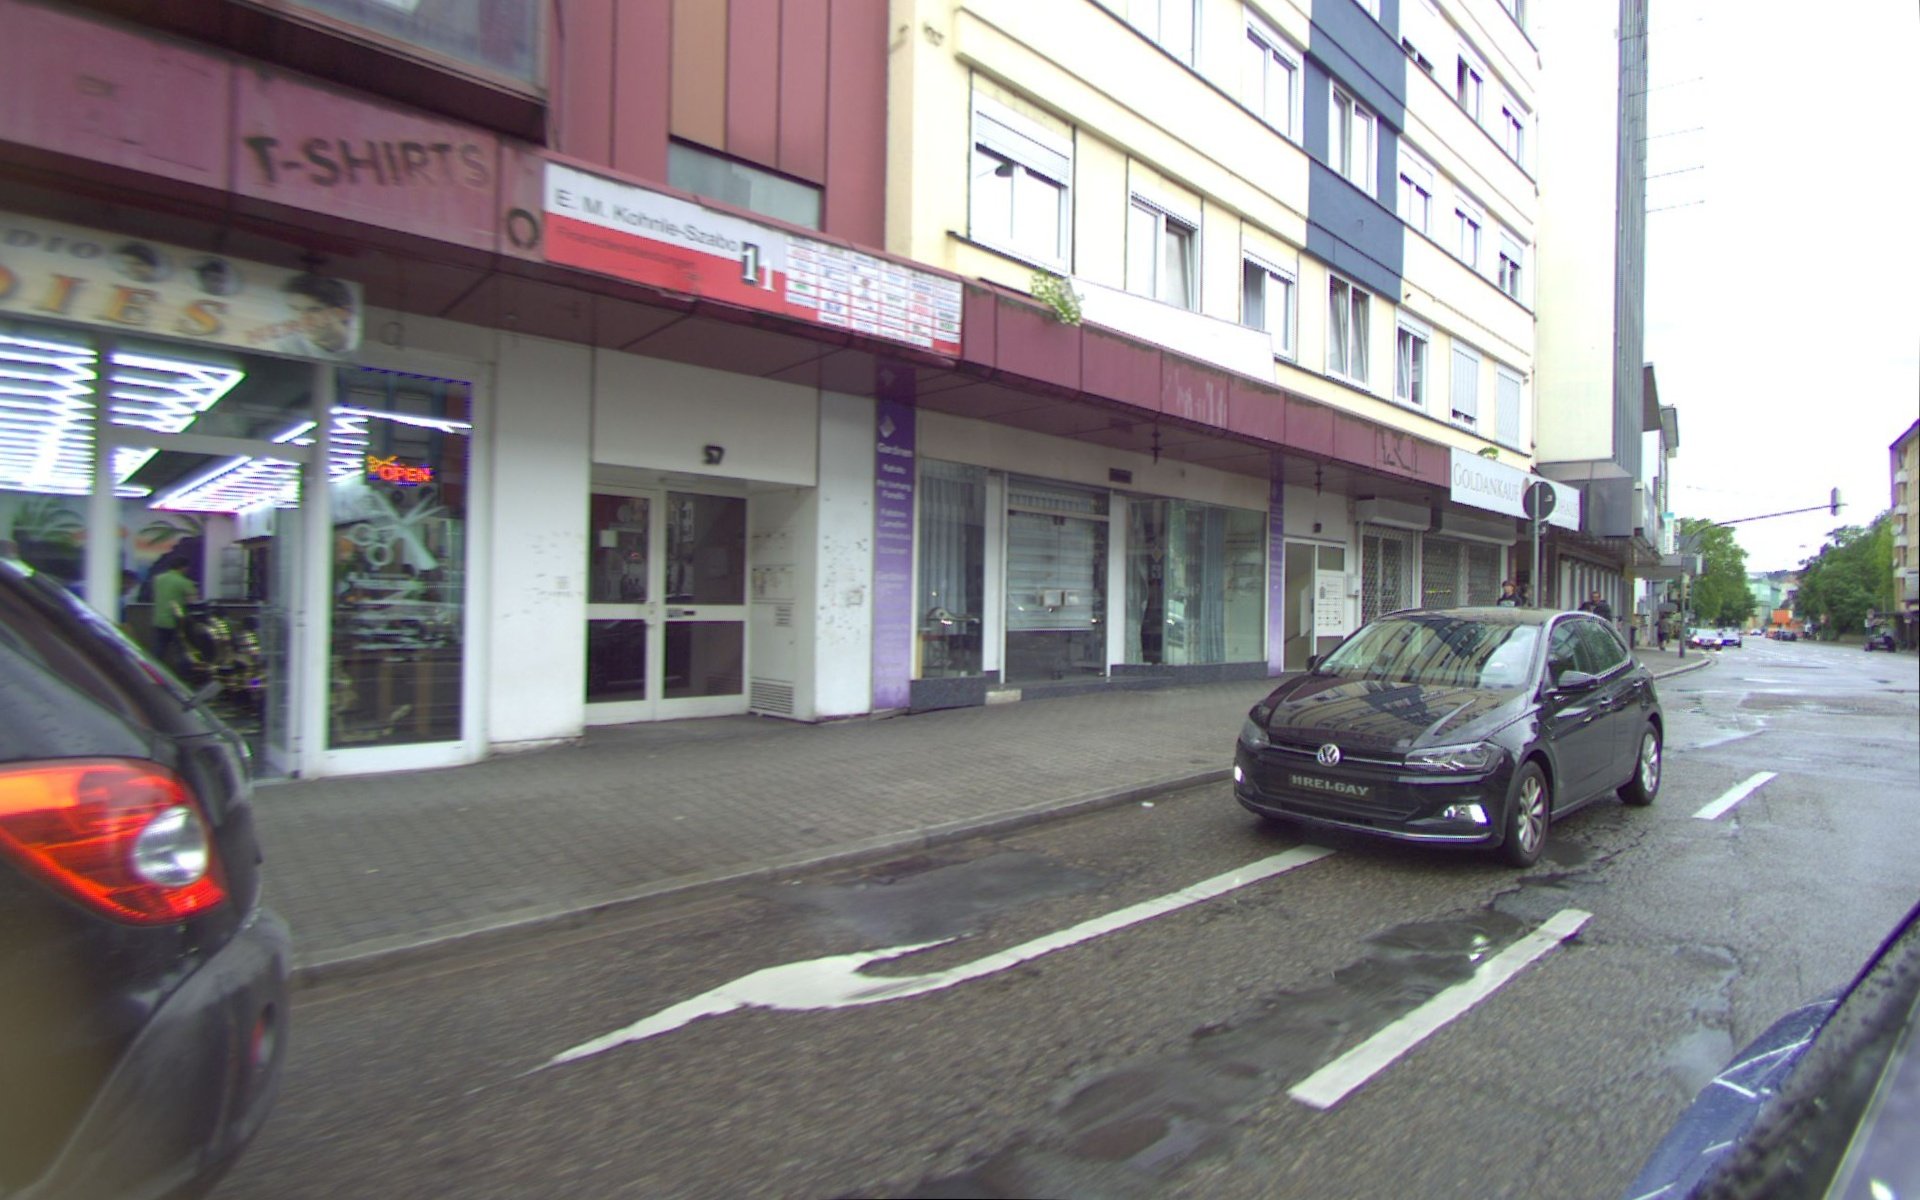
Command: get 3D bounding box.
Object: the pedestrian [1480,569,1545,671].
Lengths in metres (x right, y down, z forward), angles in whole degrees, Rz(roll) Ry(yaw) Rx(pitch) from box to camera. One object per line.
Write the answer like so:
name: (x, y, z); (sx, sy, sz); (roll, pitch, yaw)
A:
pedestrian: (10.087, 0.360, 18.484); (0.835, 1.787, 0.608); (4, 0, 41)

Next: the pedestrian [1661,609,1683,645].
pedestrian: (33.618, 1.284, 47.774); (0.733, 1.667, 0.633); (-3, -3, 39)

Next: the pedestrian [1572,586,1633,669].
pedestrian: (13.928, 0.597, 21.943); (0.737, 1.745, 0.755); (0, -3, -20)

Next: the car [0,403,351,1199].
car: (-3.278, 0.576, 1.047); (4.229, 1.808, 1.909); (1, 0, -43)

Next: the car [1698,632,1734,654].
car: (51.473, 2.920, 68.967); (1.774, 1.472, 3.948); (-2, -3, 35)

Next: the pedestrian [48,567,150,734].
pedestrian: (-7.872, 0.432, 9.271); (0.691, 1.447, 0.710); (0, 0, -41)

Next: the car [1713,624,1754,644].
car: (68.442, 2.996, 89.594); (1.979, 1.640, 4.088); (-1, 0, 25)

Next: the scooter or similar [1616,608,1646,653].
scooter or similar: (21.074, 0.960, 31.785); (1.127, 1.378, 0.377); (0, -2, -37)

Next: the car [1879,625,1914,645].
car: (79.411, 2.967, 85.848); (1.819, 1.594, 3.943); (-3, -3, 39)

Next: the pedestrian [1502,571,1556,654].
pedestrian: (12.517, 0.281, 22.271); (0.772, 1.786, 0.618); (0, -3, -20)

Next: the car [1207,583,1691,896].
car: (3.512, 0.660, 6.944); (3.816, 1.448, 1.740); (-3, 3, -43)
